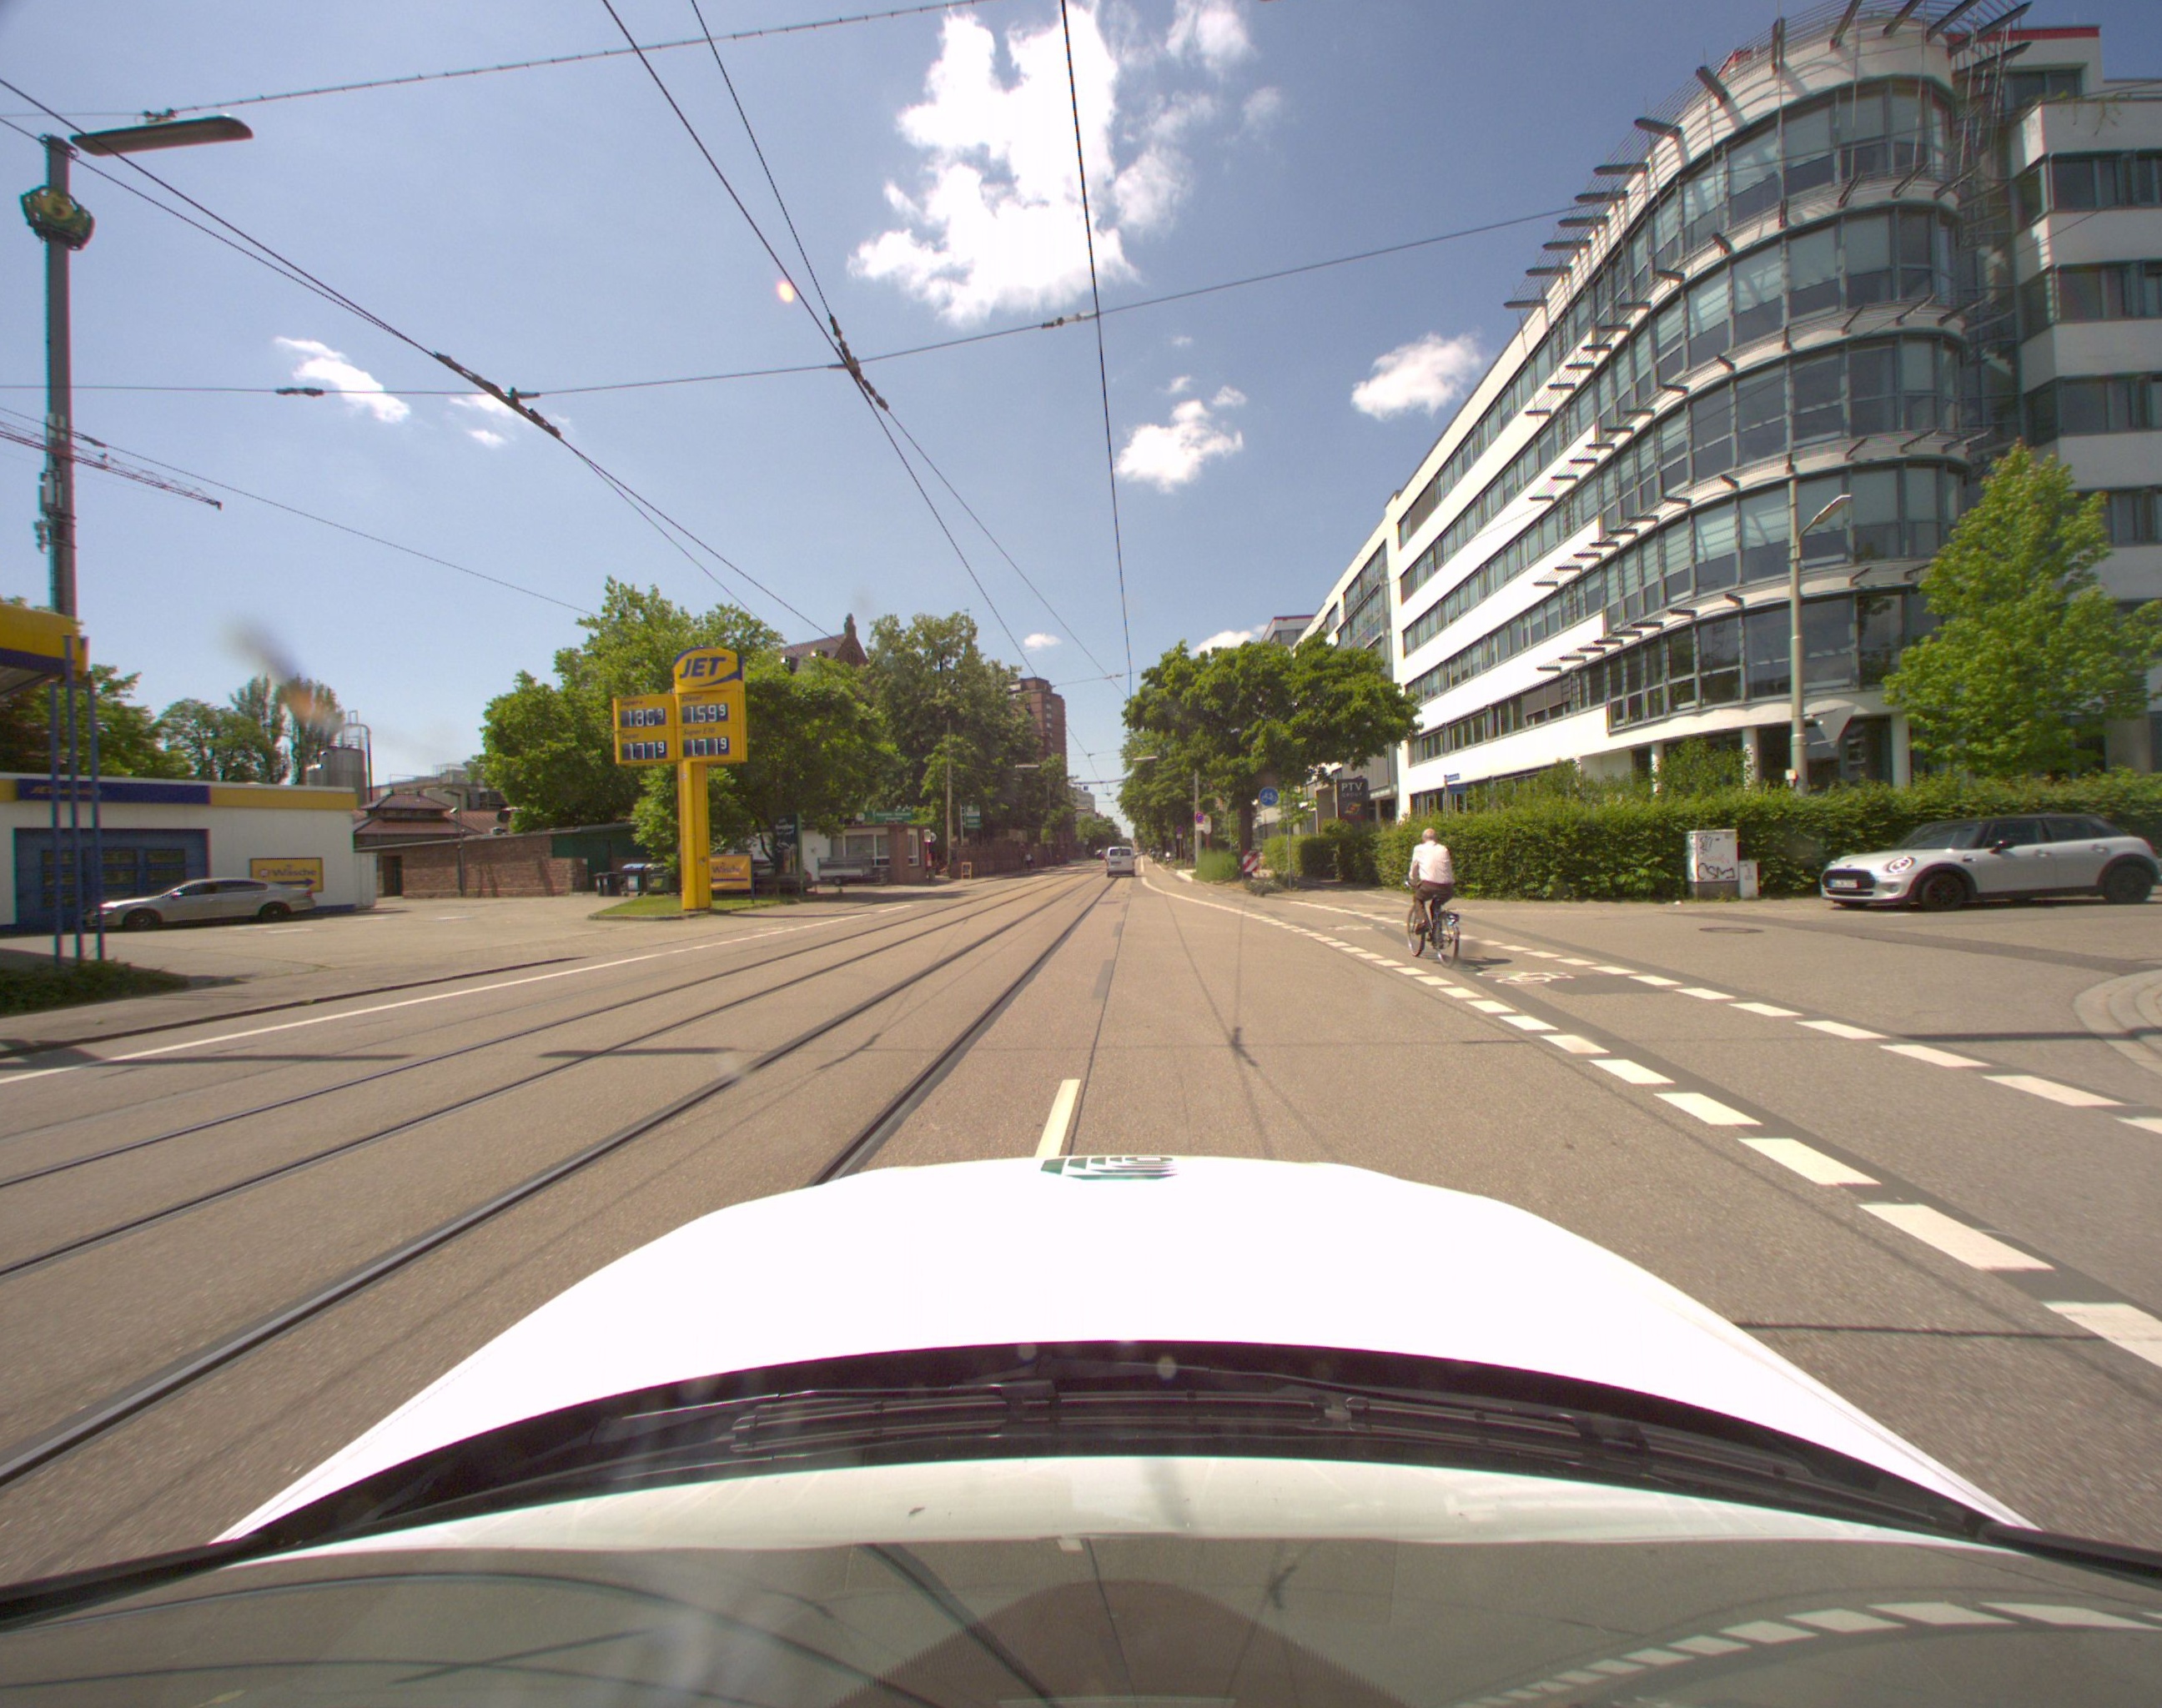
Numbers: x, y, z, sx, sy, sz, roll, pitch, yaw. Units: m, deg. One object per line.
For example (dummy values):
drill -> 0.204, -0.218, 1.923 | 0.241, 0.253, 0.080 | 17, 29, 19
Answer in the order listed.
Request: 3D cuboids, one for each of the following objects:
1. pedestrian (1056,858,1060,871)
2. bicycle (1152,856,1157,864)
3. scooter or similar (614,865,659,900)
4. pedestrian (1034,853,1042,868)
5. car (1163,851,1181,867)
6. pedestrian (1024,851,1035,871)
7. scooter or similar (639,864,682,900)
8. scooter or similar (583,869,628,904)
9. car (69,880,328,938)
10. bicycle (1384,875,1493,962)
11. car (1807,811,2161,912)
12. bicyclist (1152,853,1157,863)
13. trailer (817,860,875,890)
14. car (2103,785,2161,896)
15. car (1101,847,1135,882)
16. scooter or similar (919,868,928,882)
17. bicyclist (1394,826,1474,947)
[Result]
pedestrian -> -2.873, 1.349, 103.247 | 0.371, 1.543, 0.454 | -4, -2, 1
bicycle -> 9.174, 0.788, 101.814 | 0.386, 0.964, 1.700 | -4, -1, 2
scooter or similar -> -19.388, 1.224, 35.548 | 1.304, 1.467, 1.063 | -2, -1, 15
pedestrian -> -5.117, 0.810, 96.951 | 0.674, 1.727, 0.983 | -4, -2, 1
car -> 9.690, 0.562, 87.227 | 1.580, 1.489, 3.457 | -4, -1, 2
pedestrian -> -5.167, 0.704, 81.875 | 0.860, 2.014, 0.646 | -4, -2, 1
scooter or similar -> -17.812, 1.171, 34.531 | 1.165, 1.467, 1.062 | -2, -1, 9
scooter or similar -> -21.177, 1.448, 36.292 | 1.304, 1.467, 1.063 | -2, -1, 15
car -> -26.672, 1.607, 24.881 | 1.818, 1.365, 5.039 | -2, -1, 27
bicycle -> 4.298, 0.734, 9.939 | 0.464, 0.887, 2.049 | -2, 0, 2
car -> 14.194, 0.116, 12.934 | 3.781, 1.275, 1.558 | -4, 0, 4
bicyclist -> 9.153, 0.495, 101.827 | 0.538, 1.157, 0.576 | -4, -2, 1
trailer -> -12.819, 1.144, 44.545 | 2.714, 1.526, 1.331 | -1, -1, 5
car -> 19.604, -0.285, 12.897 | 4.127, 1.799, 1.963 | -2, 0, 4
car -> 2.272, 0.610, 50.569 | 1.748, 2.013, 3.997 | -3, 0, -2
scooter or similar -> -9.842, 1.338, 50.899 | 0.430, 0.863, 0.500 | -2, -1, 1
bicyclist -> 4.286, 0.380, 9.941 | 0.589, 1.397, 0.842 | -2, 0, 2
